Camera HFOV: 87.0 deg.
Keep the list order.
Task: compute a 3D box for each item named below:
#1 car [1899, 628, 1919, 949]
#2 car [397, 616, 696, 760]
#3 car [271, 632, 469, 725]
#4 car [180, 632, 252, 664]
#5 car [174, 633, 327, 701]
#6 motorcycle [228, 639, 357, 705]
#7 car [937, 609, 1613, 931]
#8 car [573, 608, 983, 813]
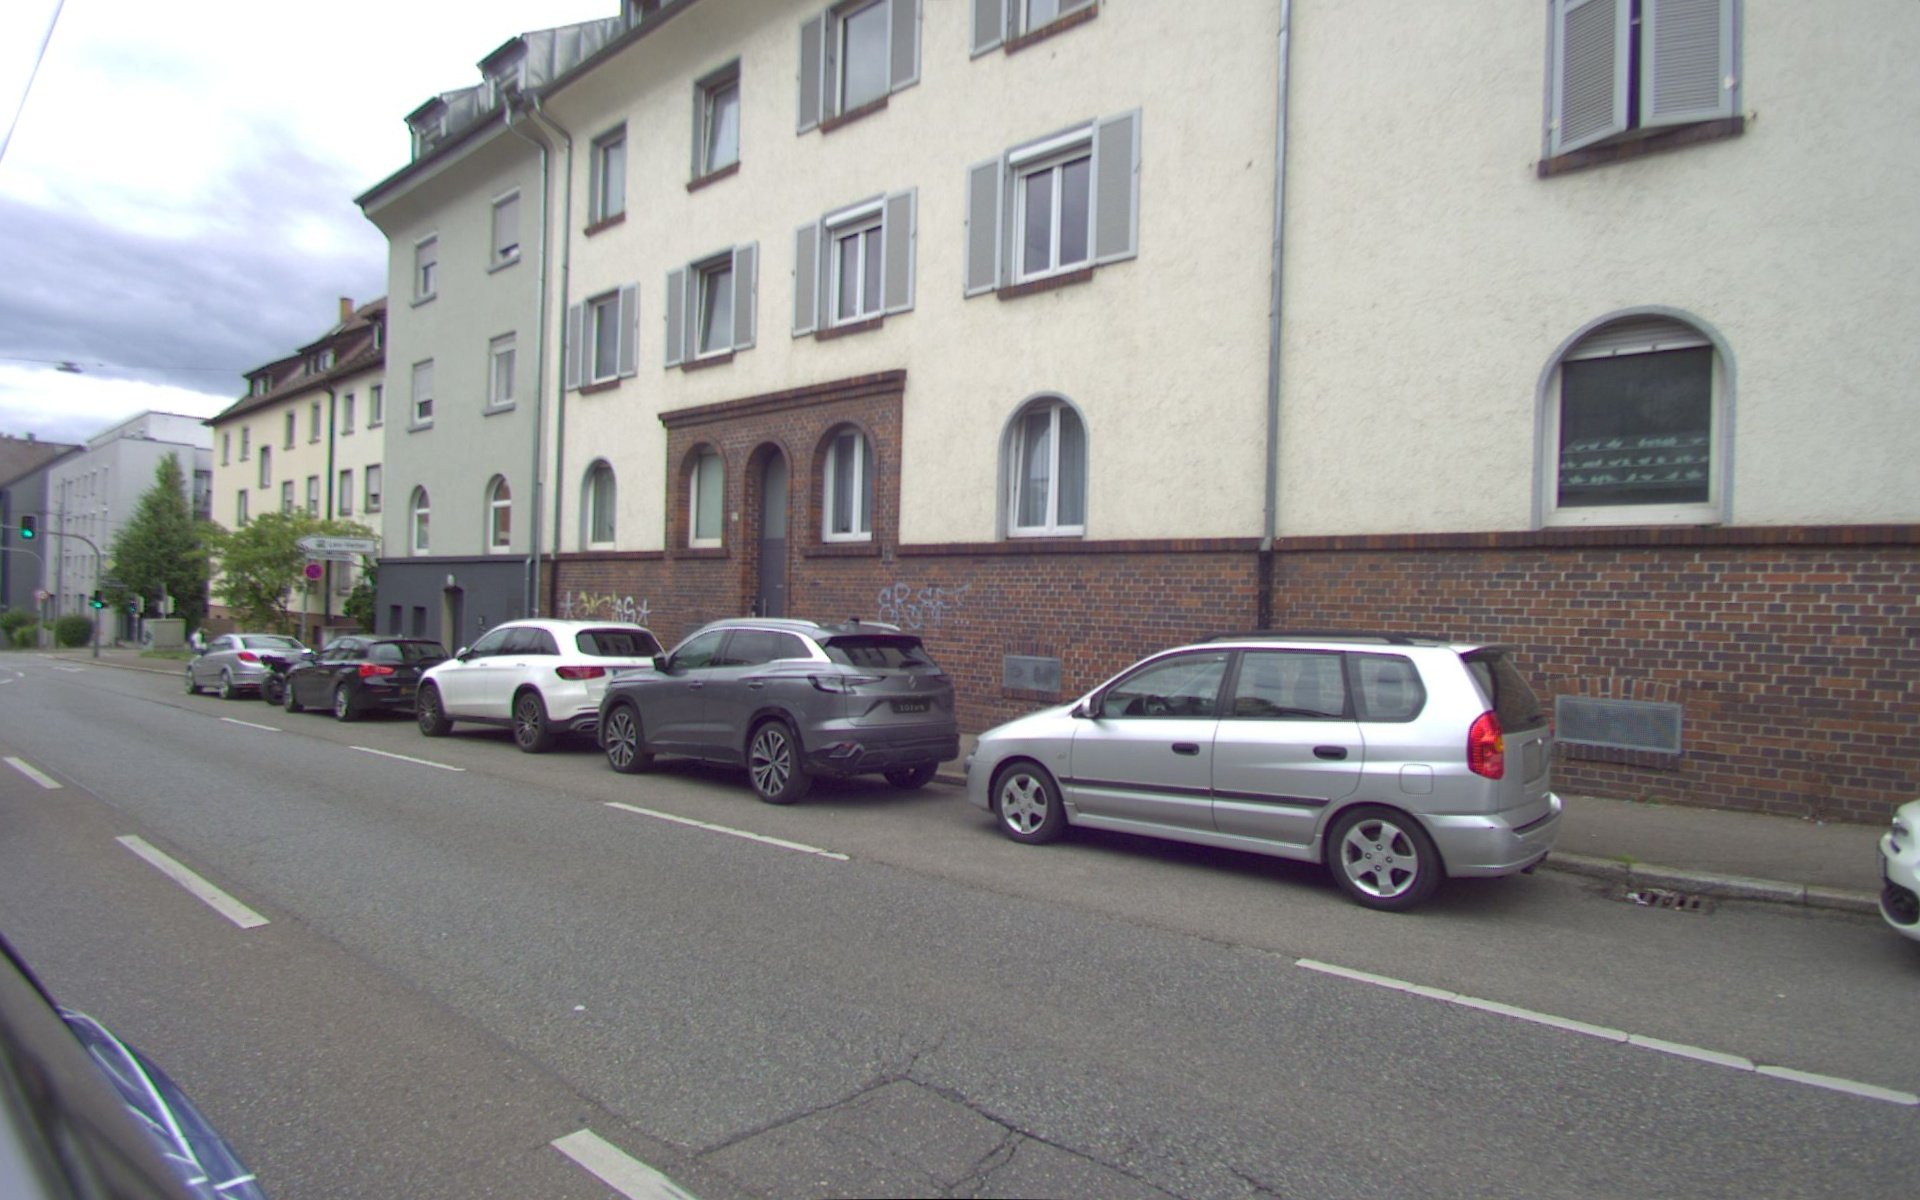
[{"bbox_3d":[5.928,0.856,3.670,3.602,1.486,1.531,-1,-3,41],"label":"car"},{"bbox_3d":[-5.748,1.081,13.779,4.640,1.634,1.826,-2,-3,40],"label":"car"},{"bbox_3d":[-10.384,1.286,17.695,4.189,1.440,1.709,-2,-3,41],"label":"car"},{"bbox_3d":[-38.266,2.481,52.040,4.252,1.549,1.797,-3,-5,37],"label":"car"},{"bbox_3d":[-15.861,1.426,22.543,4.333,1.384,1.709,-2,-3,40],"label":"car"},{"bbox_3d":[-13.395,1.448,20.381,0.802,1.245,2.030,-1,-4,23],"label":"motorcycle"},{"bbox_3d":[1.946,0.910,6.944,4.079,1.570,1.709,-1,-4,41],"label":"car"},{"bbox_3d":[-2.006,0.947,10.153,4.502,1.611,1.708,-2,-3,43],"label":"car"}]
